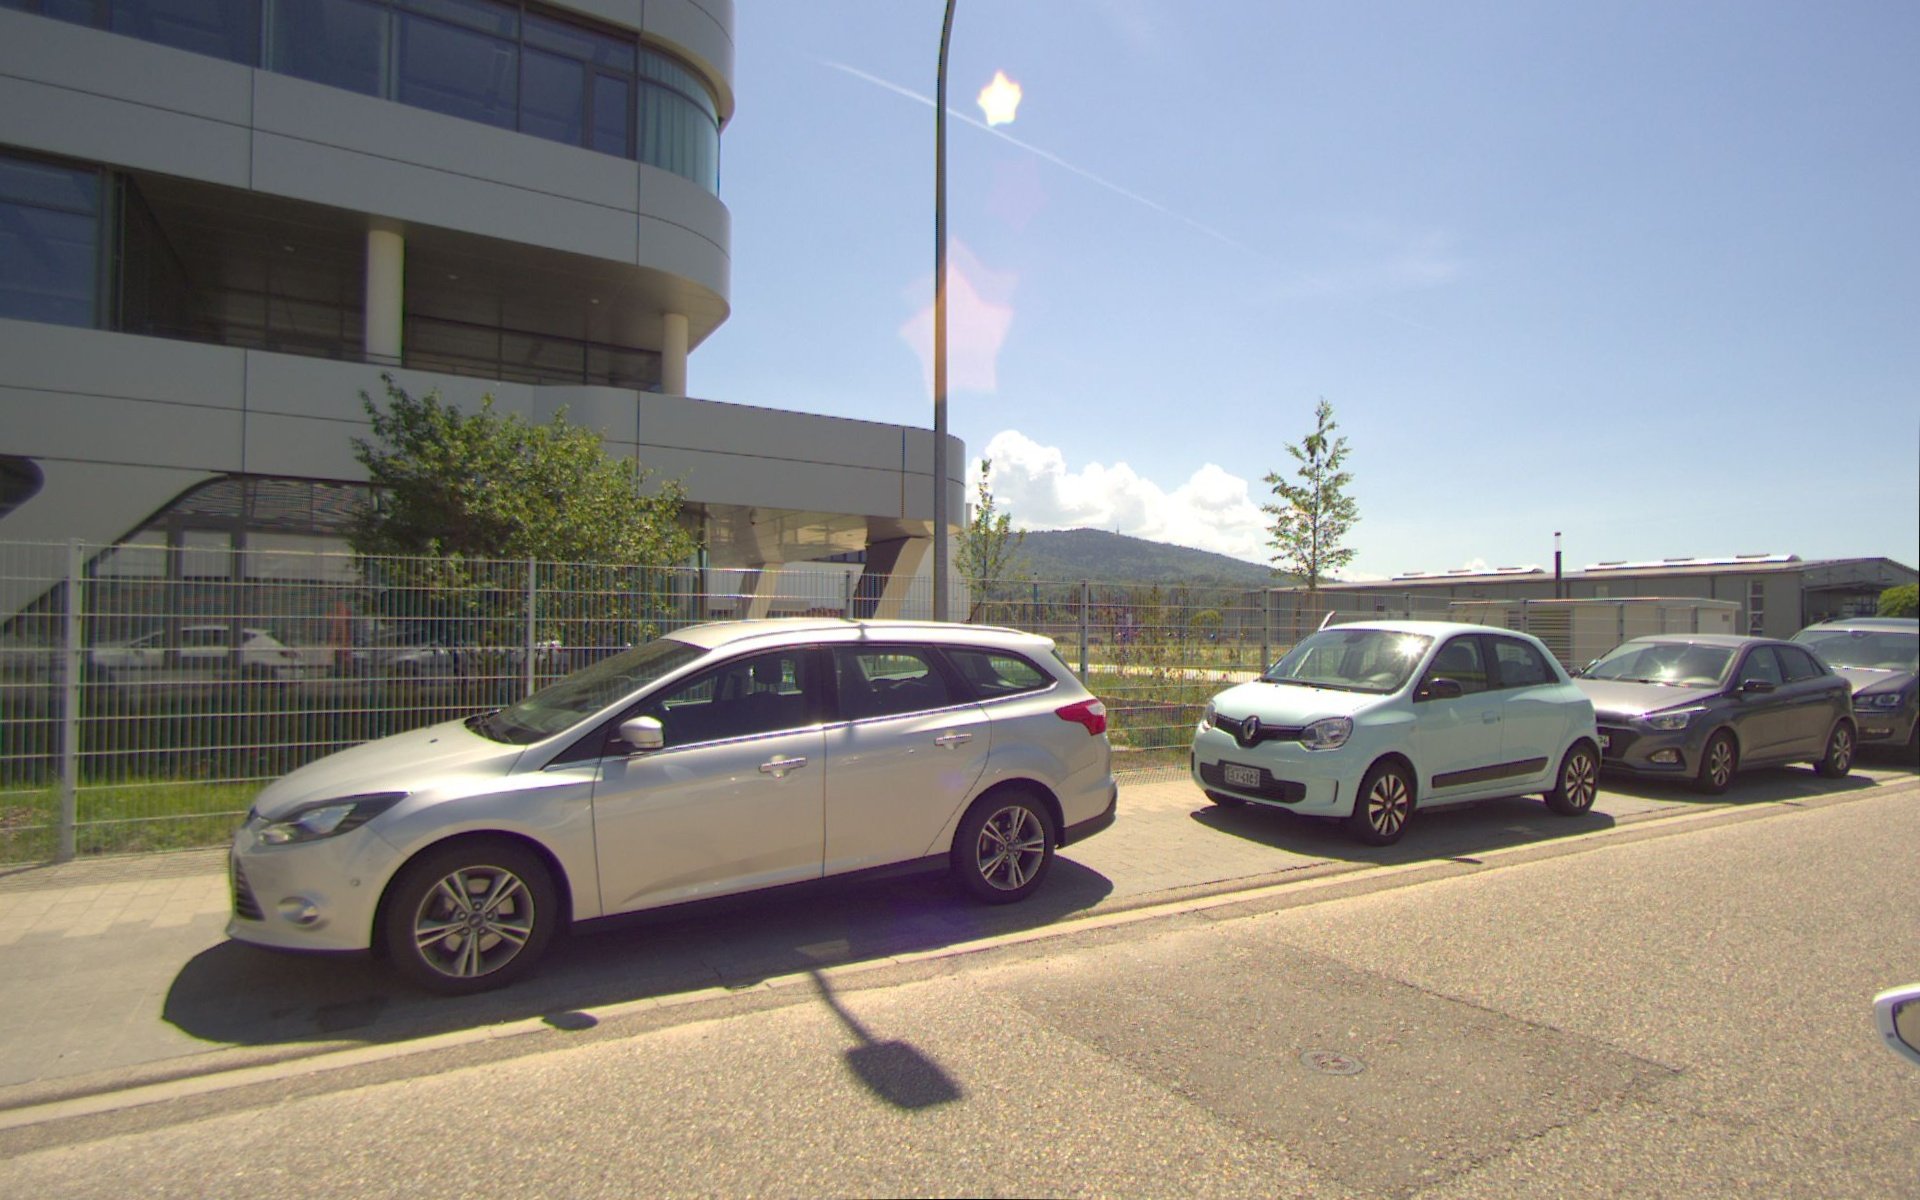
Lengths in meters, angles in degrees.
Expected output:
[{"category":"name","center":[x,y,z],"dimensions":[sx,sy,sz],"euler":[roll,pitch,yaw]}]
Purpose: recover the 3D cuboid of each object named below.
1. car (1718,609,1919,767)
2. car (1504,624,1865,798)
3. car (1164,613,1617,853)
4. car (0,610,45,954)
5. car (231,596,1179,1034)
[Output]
[{"category":"car","center":[12.018,1.044,13.111],"dimensions":[4.568,1.742,1.794],"euler":[2,-1,-31]},{"category":"car","center":[7.739,1.052,10.660],"dimensions":[3.924,1.520,1.627],"euler":[2,-1,-30]},{"category":"car","center":[3.585,0.921,8.234],"dimensions":[3.616,1.556,1.626],"euler":[2,-1,-31]},{"category":"car","center":[-5.811,0.732,2.897],"dimensions":[4.389,1.463,1.694],"euler":[2,-1,-31]},{"category":"car","center":[-1.075,0.816,5.482],"dimensions":[4.520,1.556,1.694],"euler":[2,-1,-31]}]
